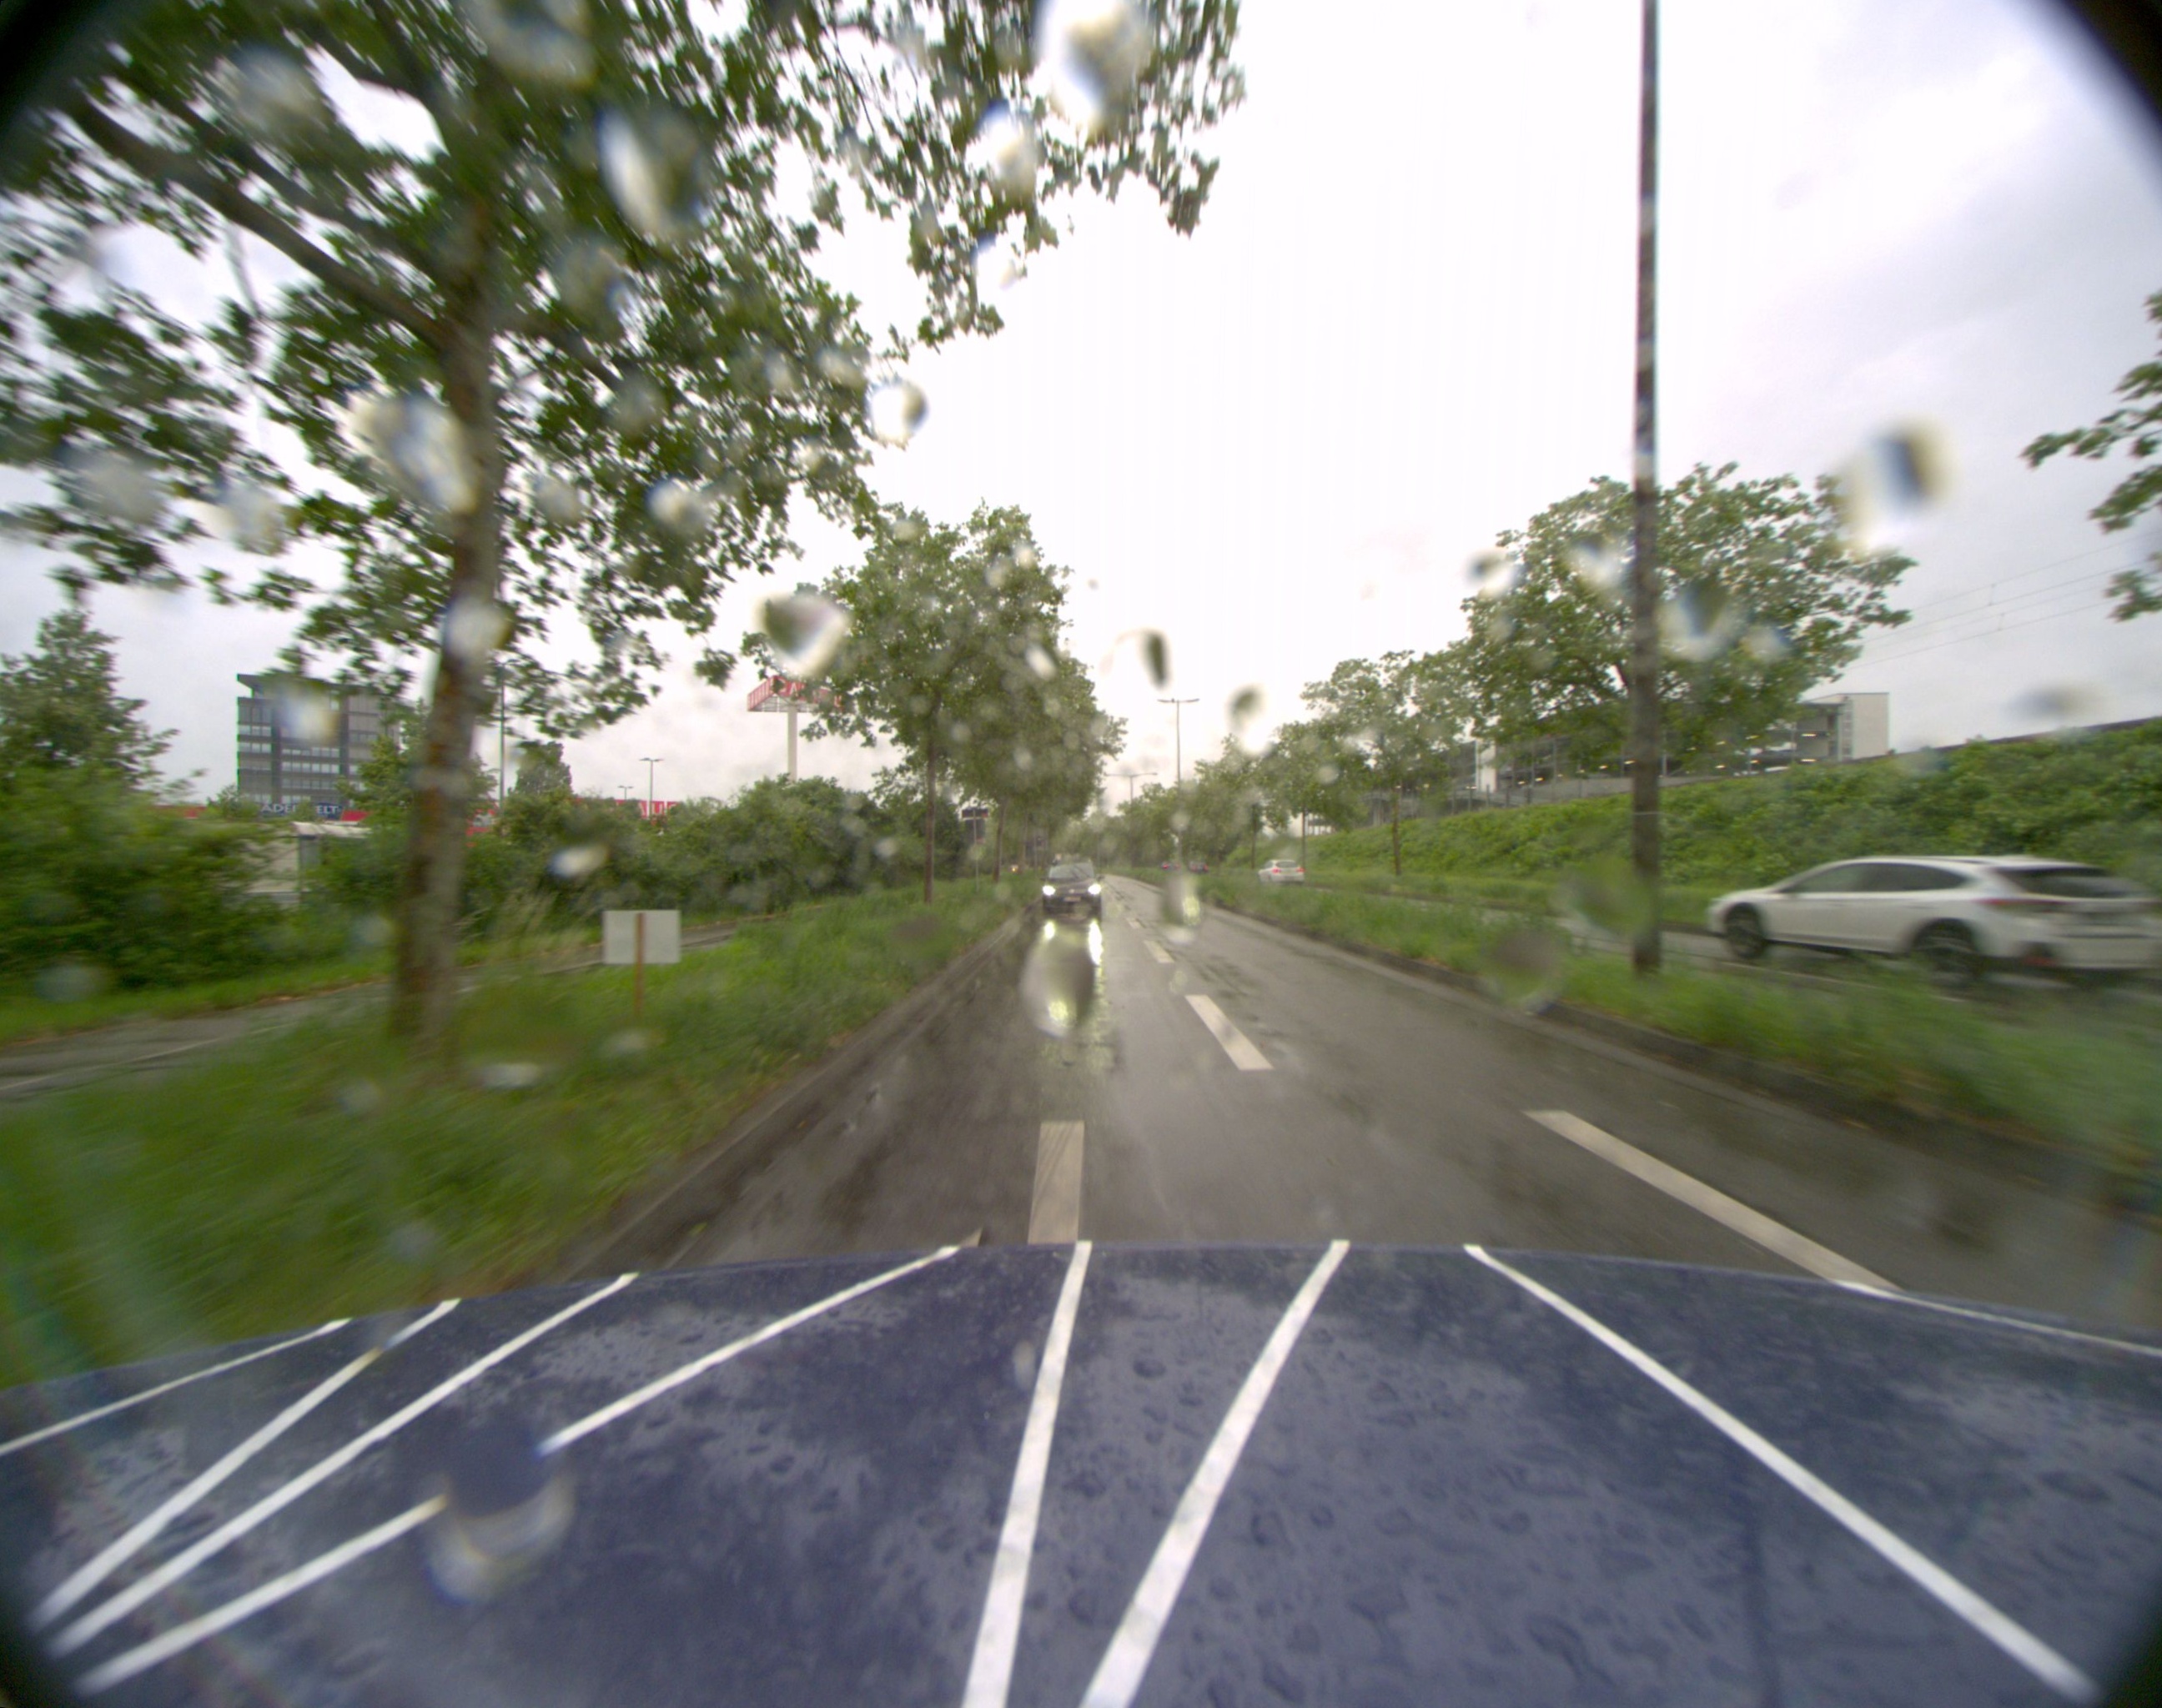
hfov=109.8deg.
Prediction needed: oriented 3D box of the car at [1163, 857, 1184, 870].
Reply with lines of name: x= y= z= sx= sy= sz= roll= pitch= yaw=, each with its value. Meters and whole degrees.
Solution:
car: x=10.673 y=1.059 z=87.880 sx=1.936 sy=1.436 sz=4.496 roll=-1 pitch=0 yaw=0

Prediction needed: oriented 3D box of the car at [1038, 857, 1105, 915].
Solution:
car: x=-0.208 y=0.956 z=24.752 sx=1.788 sy=1.605 sz=4.718 roll=-2 pitch=0 yaw=3

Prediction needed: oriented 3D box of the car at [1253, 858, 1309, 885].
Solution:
car: x=11.248 y=0.944 z=43.053 sx=1.936 sy=1.436 sz=4.657 roll=-1 pitch=0 yaw=0

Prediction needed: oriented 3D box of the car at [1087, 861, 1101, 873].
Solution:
car: x=1.735 y=1.708 z=102.303 sx=1.729 sy=1.470 sz=4.000 roll=-3 pitch=0 yaw=1

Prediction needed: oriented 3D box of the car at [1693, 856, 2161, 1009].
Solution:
car: x=10.901 y=0.820 z=10.142 sx=1.861 sy=1.579 sz=4.518 roll=0 pitch=0 yaw=1

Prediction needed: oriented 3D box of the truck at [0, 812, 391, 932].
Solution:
truck: x=-19.904 y=0.362 z=16.924 sx=6.552 sy=2.291 sz=2.219 roll=-2 pitch=1 yaw=-6

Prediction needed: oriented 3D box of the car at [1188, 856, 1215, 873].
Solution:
car: x=11.222 y=0.961 z=71.208 sx=1.936 sy=1.436 sz=3.707 roll=-1 pitch=0 yaw=0
